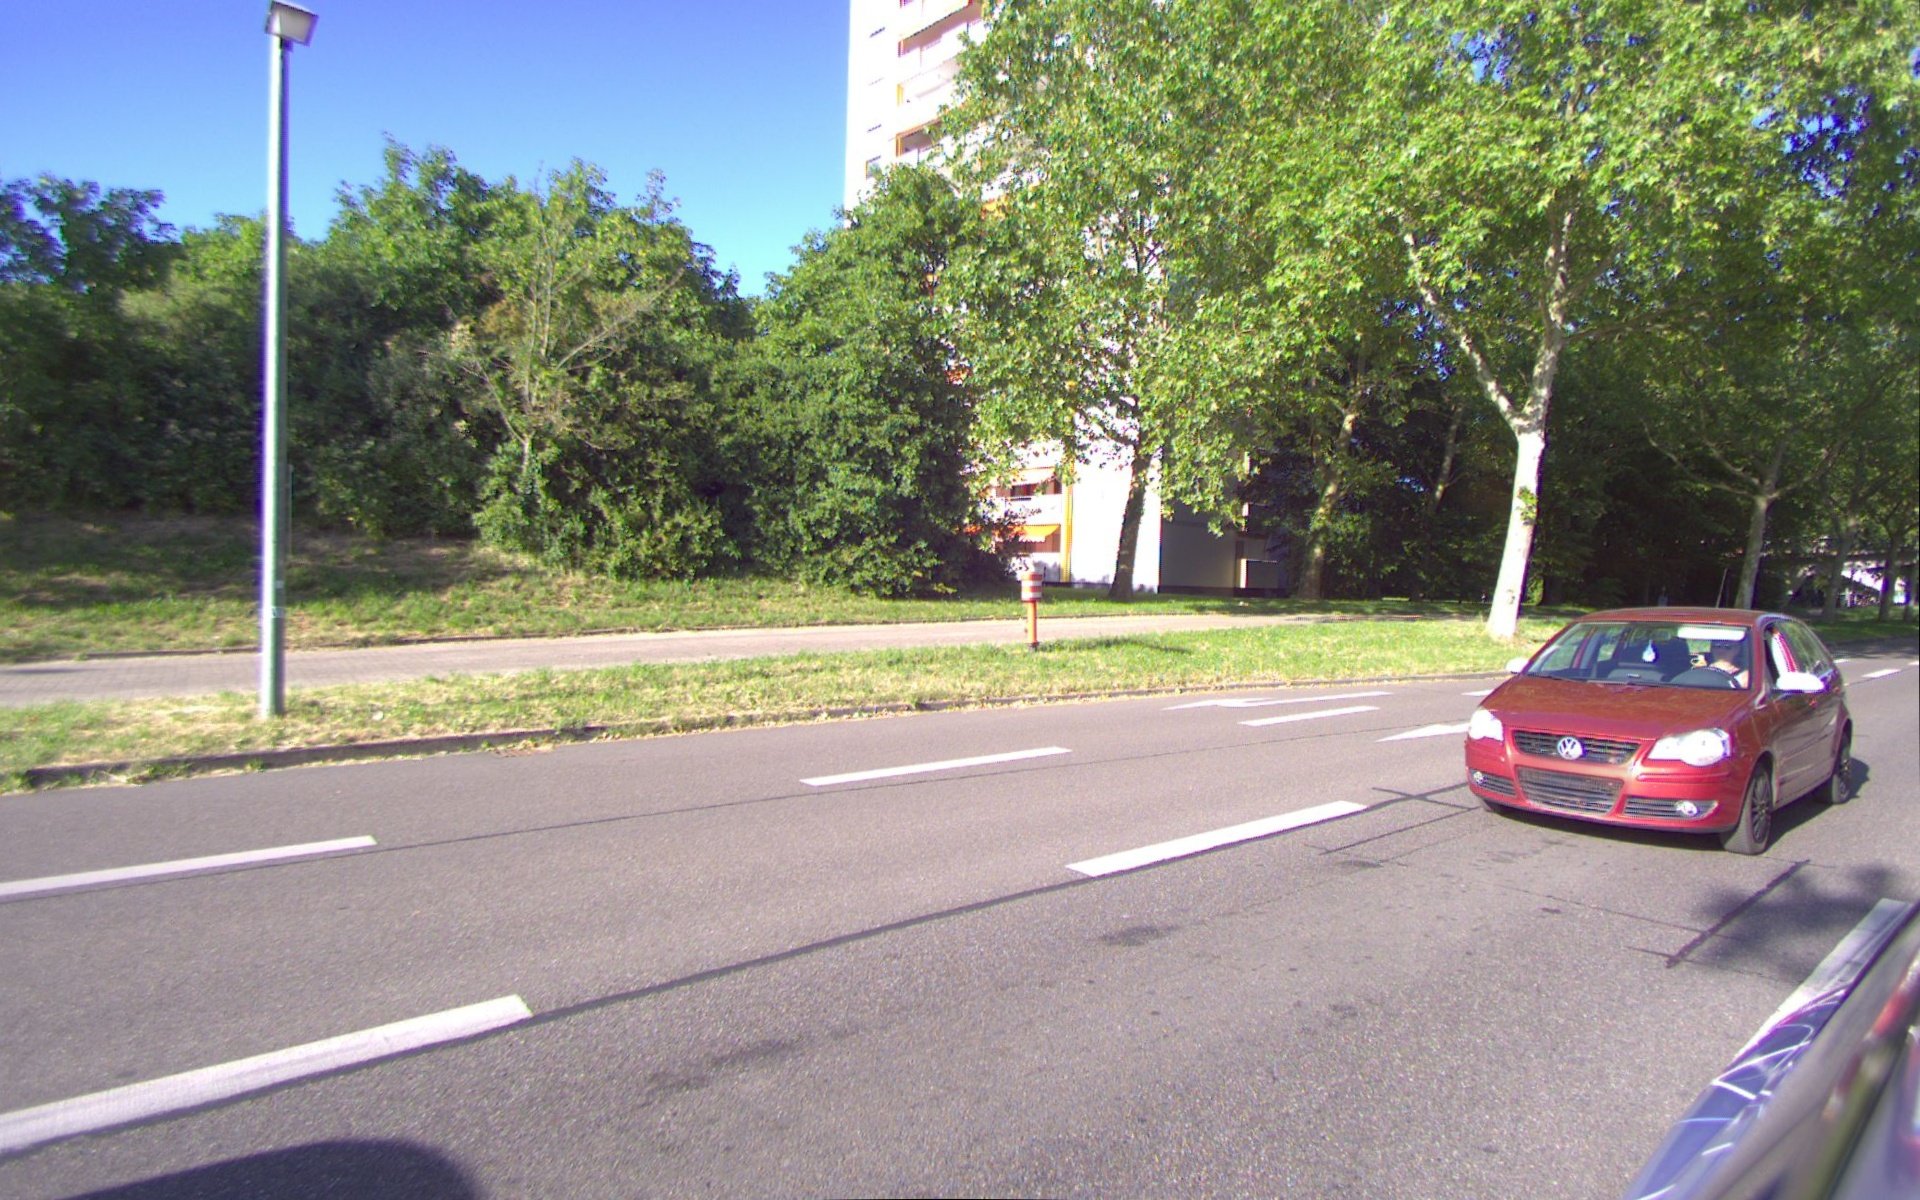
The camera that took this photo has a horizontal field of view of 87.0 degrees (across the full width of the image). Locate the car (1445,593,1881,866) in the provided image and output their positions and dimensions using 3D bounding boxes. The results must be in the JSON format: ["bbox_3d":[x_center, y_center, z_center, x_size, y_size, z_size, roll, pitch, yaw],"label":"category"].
[{"bbox_3d":[5.190,0.691,7.311,3.693,1.456,1.646,-1,1,-39],"label":"car"}]
